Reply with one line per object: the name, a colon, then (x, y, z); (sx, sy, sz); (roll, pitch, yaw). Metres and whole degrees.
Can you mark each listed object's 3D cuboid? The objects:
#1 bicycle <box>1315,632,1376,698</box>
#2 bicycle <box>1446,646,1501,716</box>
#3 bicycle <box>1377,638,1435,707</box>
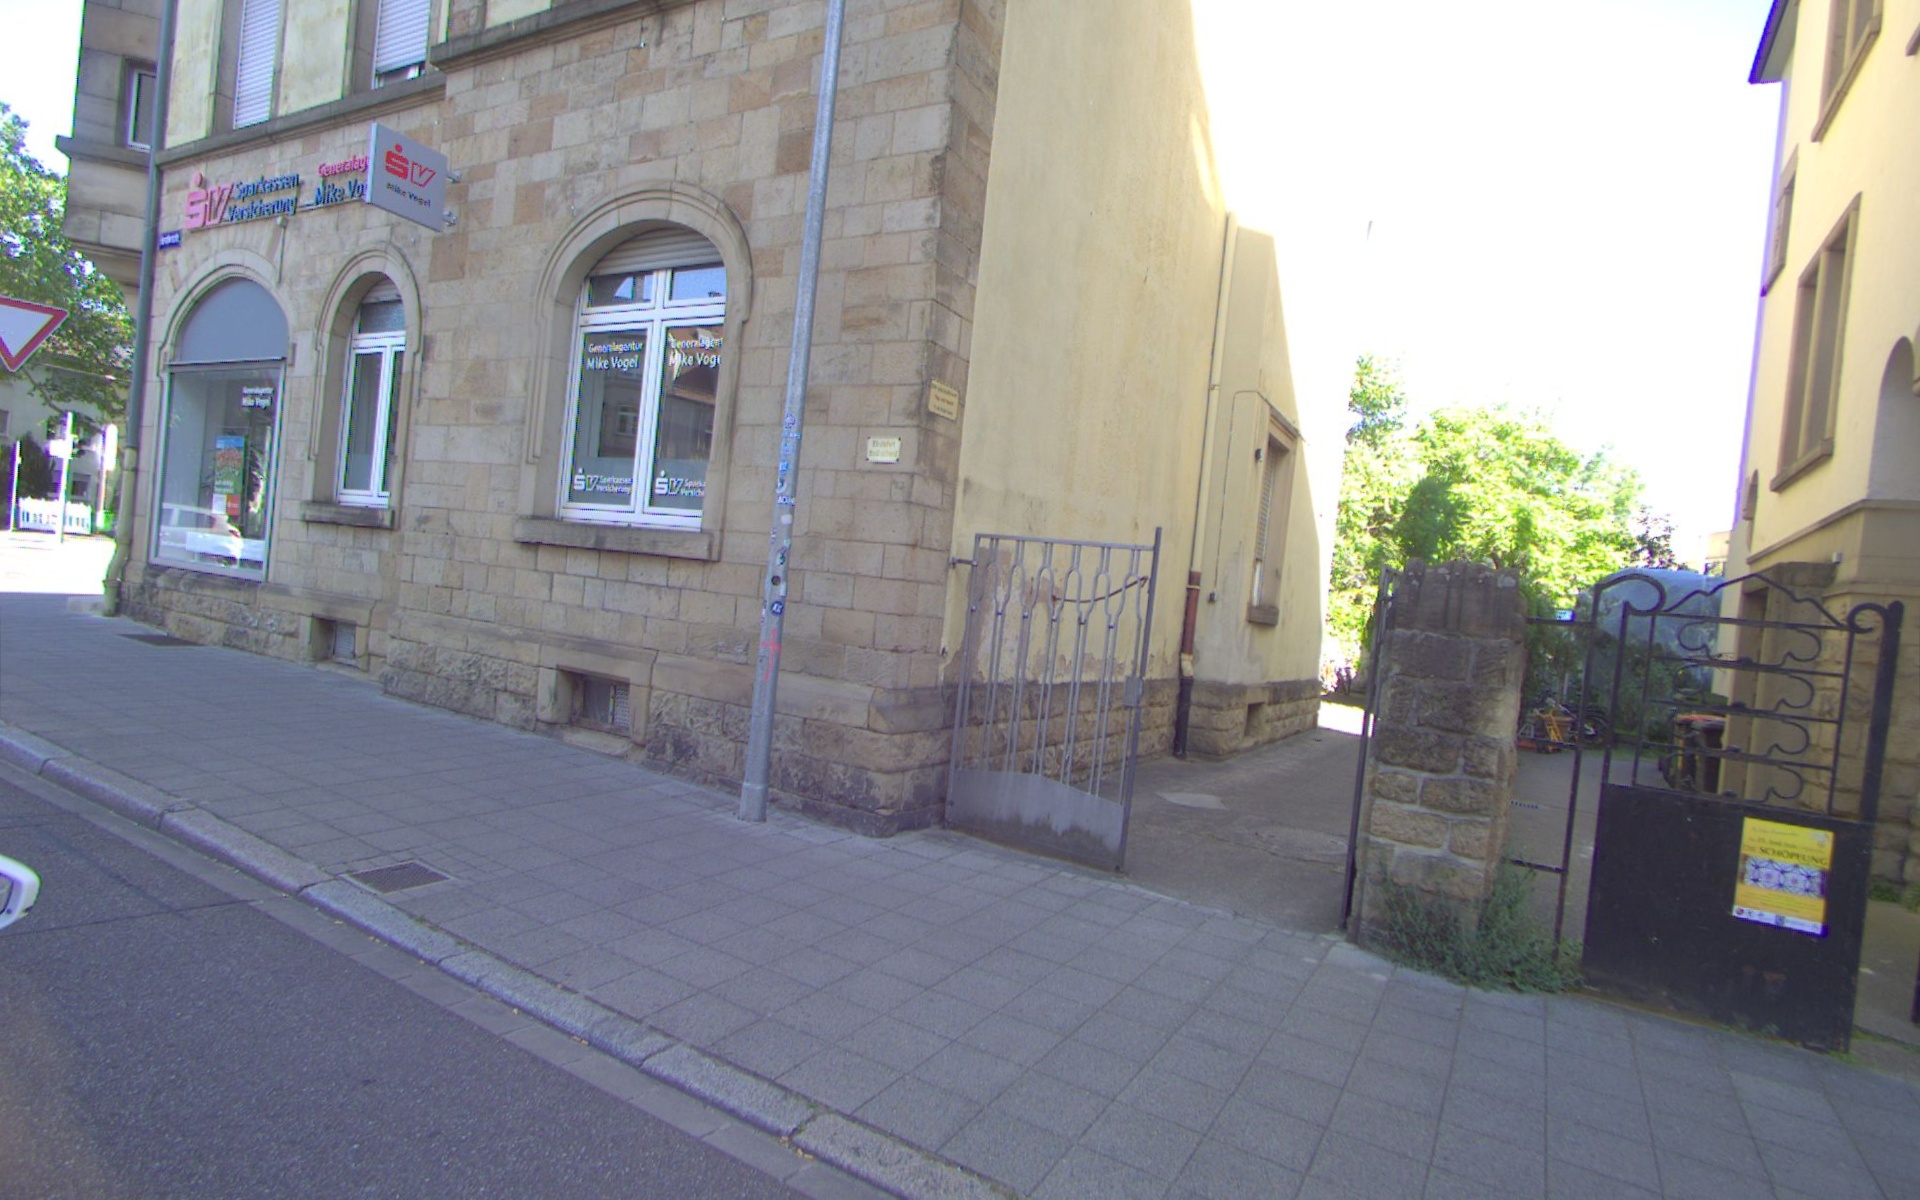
bicycle: (9.984, 1.642, 25.966); (0.904, 1.532, 2.667); (6, 2, 31)
bicycle: (12.602, 1.937, 24.635); (0.904, 1.532, 2.667); (6, 2, 31)
bicycle: (11.217, 1.777, 25.249); (0.904, 1.532, 2.667); (6, 2, 31)
